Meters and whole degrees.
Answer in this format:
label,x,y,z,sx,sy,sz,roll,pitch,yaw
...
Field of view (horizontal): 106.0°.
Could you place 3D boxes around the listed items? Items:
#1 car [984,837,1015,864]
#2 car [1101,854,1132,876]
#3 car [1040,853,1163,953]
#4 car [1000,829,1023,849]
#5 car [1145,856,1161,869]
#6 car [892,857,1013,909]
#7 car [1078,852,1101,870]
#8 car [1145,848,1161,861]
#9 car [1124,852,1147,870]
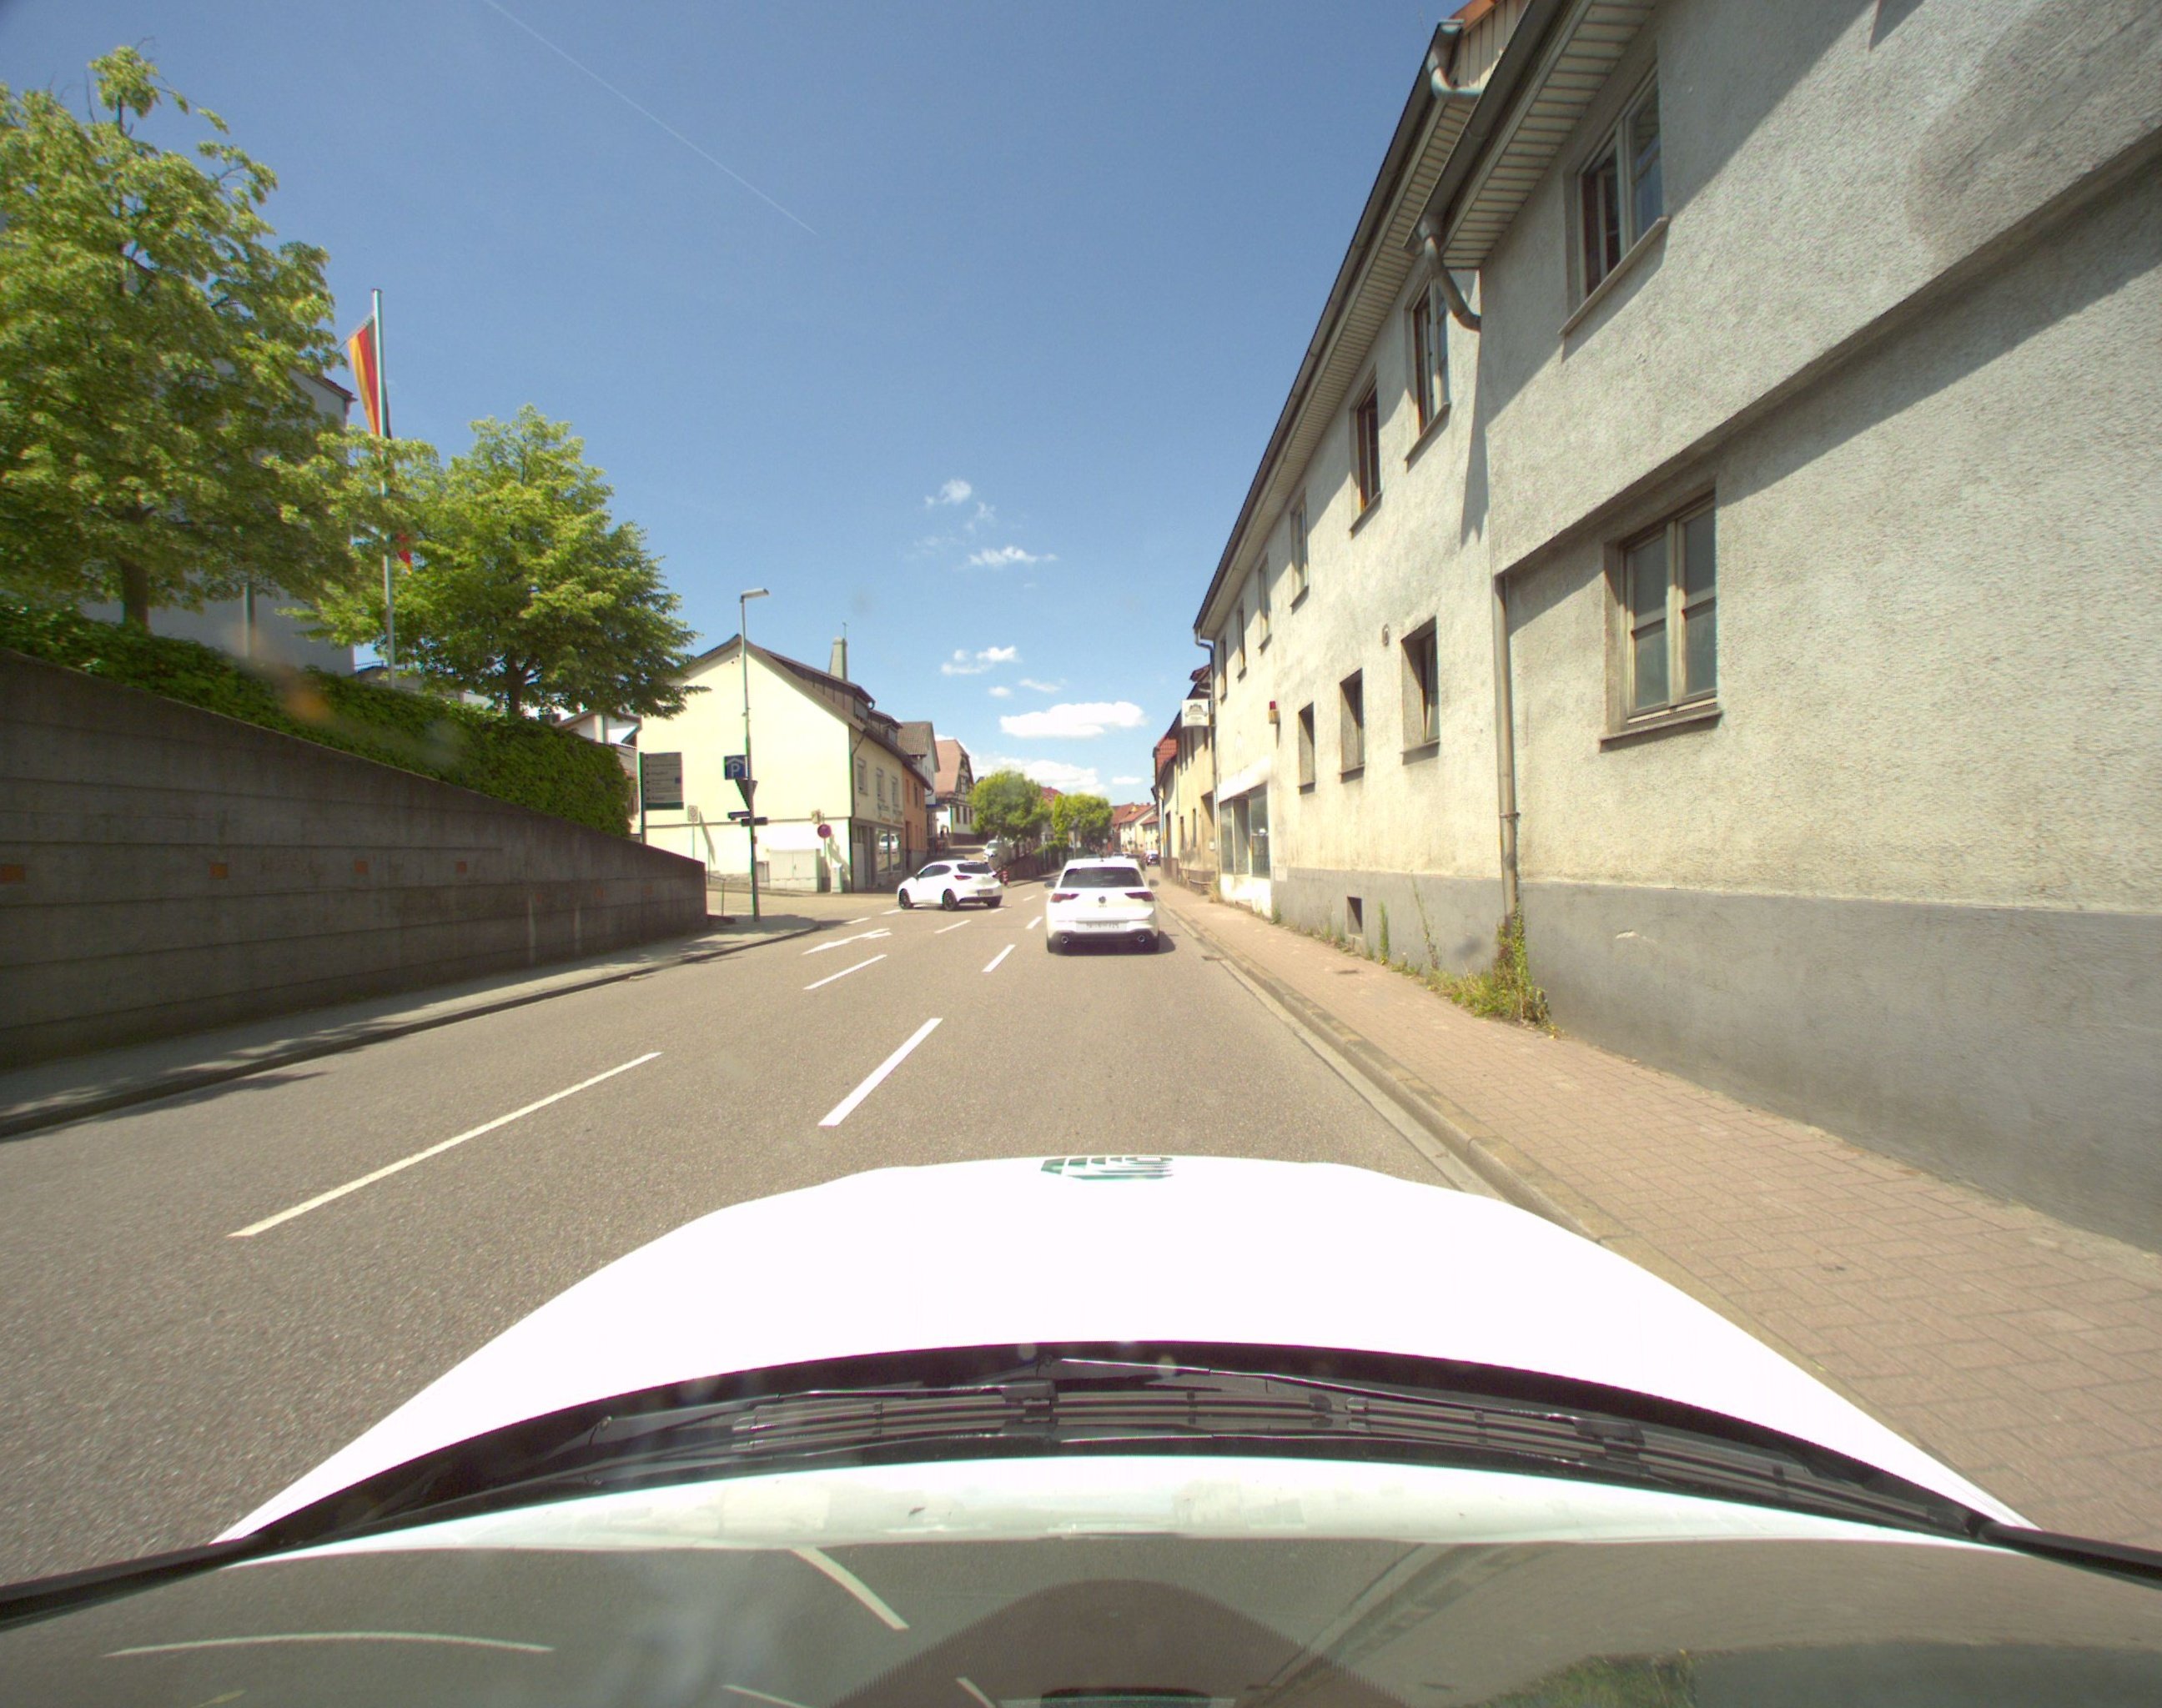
label,x,y,z,sx,sy,sz,roll,pitch,yaw
car,-5.843,-0.276,58.668,1.687,1.542,3.859,-2,6,1
car,2.535,0.769,56.987,1.798,1.467,4.008,0,0,8
car,0.418,0.725,13.925,1.800,1.467,4.004,0,0,3
car,-6.020,-1.302,70.846,1.571,1.361,3.859,-2,6,1
car,8.740,1.019,98.639,1.766,1.538,4.008,-2,0,7
car,-4.018,0.833,24.985,1.823,1.467,3.952,0,0,-42
car,0.826,0.639,76.072,1.750,1.635,4.054,-3,0,4
car,10.129,0.057,114.274,1.764,1.765,4.011,-2,0,10
car,5.080,0.612,75.165,1.766,1.538,4.009,-2,0,7
